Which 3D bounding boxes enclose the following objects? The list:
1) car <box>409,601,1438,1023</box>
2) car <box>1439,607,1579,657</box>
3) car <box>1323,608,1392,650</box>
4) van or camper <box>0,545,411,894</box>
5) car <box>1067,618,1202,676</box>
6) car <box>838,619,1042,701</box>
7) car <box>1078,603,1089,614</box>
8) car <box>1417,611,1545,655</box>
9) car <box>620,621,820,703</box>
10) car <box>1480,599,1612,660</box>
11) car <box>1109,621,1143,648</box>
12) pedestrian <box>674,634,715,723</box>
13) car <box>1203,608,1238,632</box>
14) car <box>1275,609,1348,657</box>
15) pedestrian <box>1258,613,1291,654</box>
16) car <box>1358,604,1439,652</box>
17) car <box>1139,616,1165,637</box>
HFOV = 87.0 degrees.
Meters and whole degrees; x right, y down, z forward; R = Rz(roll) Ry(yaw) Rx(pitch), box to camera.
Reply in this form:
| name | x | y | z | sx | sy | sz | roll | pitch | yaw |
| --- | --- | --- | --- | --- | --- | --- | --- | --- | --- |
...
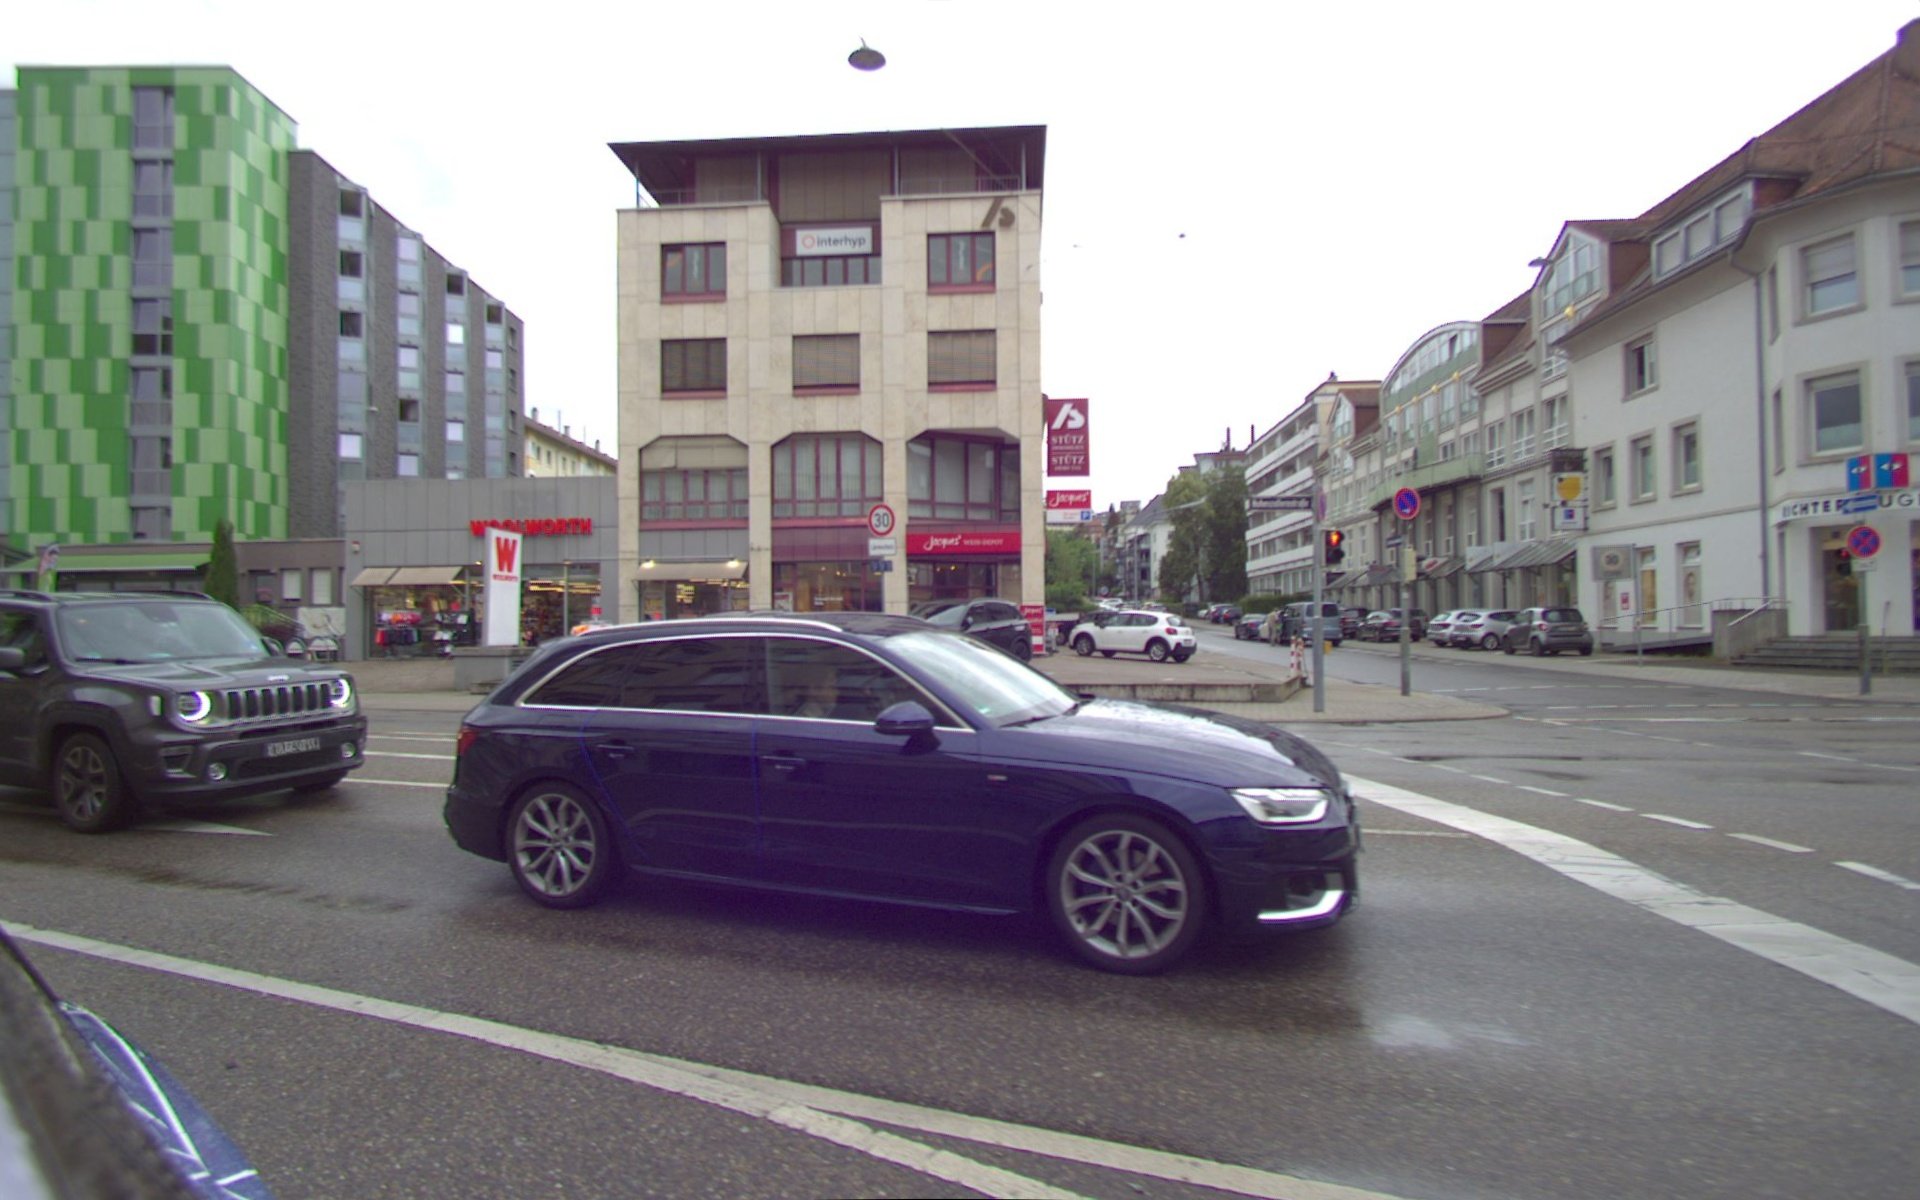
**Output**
| name | x | y | z | sx | sy | sz | roll | pitch | yaw |
| --- | --- | --- | --- | --- | --- | --- | --- | --- | --- |
| car | -0.273 | 0.737 | 5.075 | 4.649 | 1.416 | 1.797 | 0 | -1 | 20 |
| car | 19.976 | 1.180 | 36.977 | 3.944 | 1.743 | 2.000 | -1 | -2 | 0 |
| car | 20.109 | 1.462 | 51.394 | 1.973 | 2.029 | 3.997 | -1 | -2 | 2 |
| van or camper | -6.589 | 0.813 | 7.884 | 4.112 | 2.163 | 1.848 | -2 | -2 | 21 |
| car | 5.269 | 1.375 | 30.813 | 3.755 | 1.511 | 1.562 | 2 | 0 | 39 |
| car | -0.305 | 1.170 | 21.054 | 1.951 | 1.517 | 4.376 | -1 | -2 | 37 |
| car | 23.975 | 1.704 | 196.644 | 1.974 | 2.029 | 3.996 | -1 | -2 | 3 |
| car | 20.192 | 1.281 | 39.322 | 3.945 | 1.603 | 1.874 | -1 | -2 | 1 |
| car | -5.107 | 1.255 | 22.158 | 1.877 | 1.538 | 4.419 | -1 | -1 | 27 |
| car | 18.820 | 0.959 | 32.733 | 1.973 | 1.829 | 3.998 | -1 | -2 | 2 |
| car | 13.076 | 2.722 | 80.112 | 1.972 | 2.029 | 4.000 | -1 | -2 | 0 |
| pedestrian | -4.795 | 1.404 | 18.303 | 0.501 | 1.541 | 0.762 | 0 | 0 | 3 |
| car | 22.050 | 1.716 | 85.774 | 1.973 | 2.029 | 3.997 | -1 | -2 | 2 |
| car | 15.853 | 1.480 | 45.857 | 1.973 | 2.029 | 3.998 | -1 | -2 | 2 |
| pedestrian | 14.488 | 1.530 | 46.657 | 1.183 | 1.842 | 1.055 | -2 | -2 | 33 |
| car | 19.643 | 1.248 | 45.539 | 1.974 | 2.029 | 3.996 | -1 | -2 | 3 |
| car | 19.315 | 2.672 | 102.146 | 2.081 | 2.029 | 3.995 | -1 | -2 | 4 |
